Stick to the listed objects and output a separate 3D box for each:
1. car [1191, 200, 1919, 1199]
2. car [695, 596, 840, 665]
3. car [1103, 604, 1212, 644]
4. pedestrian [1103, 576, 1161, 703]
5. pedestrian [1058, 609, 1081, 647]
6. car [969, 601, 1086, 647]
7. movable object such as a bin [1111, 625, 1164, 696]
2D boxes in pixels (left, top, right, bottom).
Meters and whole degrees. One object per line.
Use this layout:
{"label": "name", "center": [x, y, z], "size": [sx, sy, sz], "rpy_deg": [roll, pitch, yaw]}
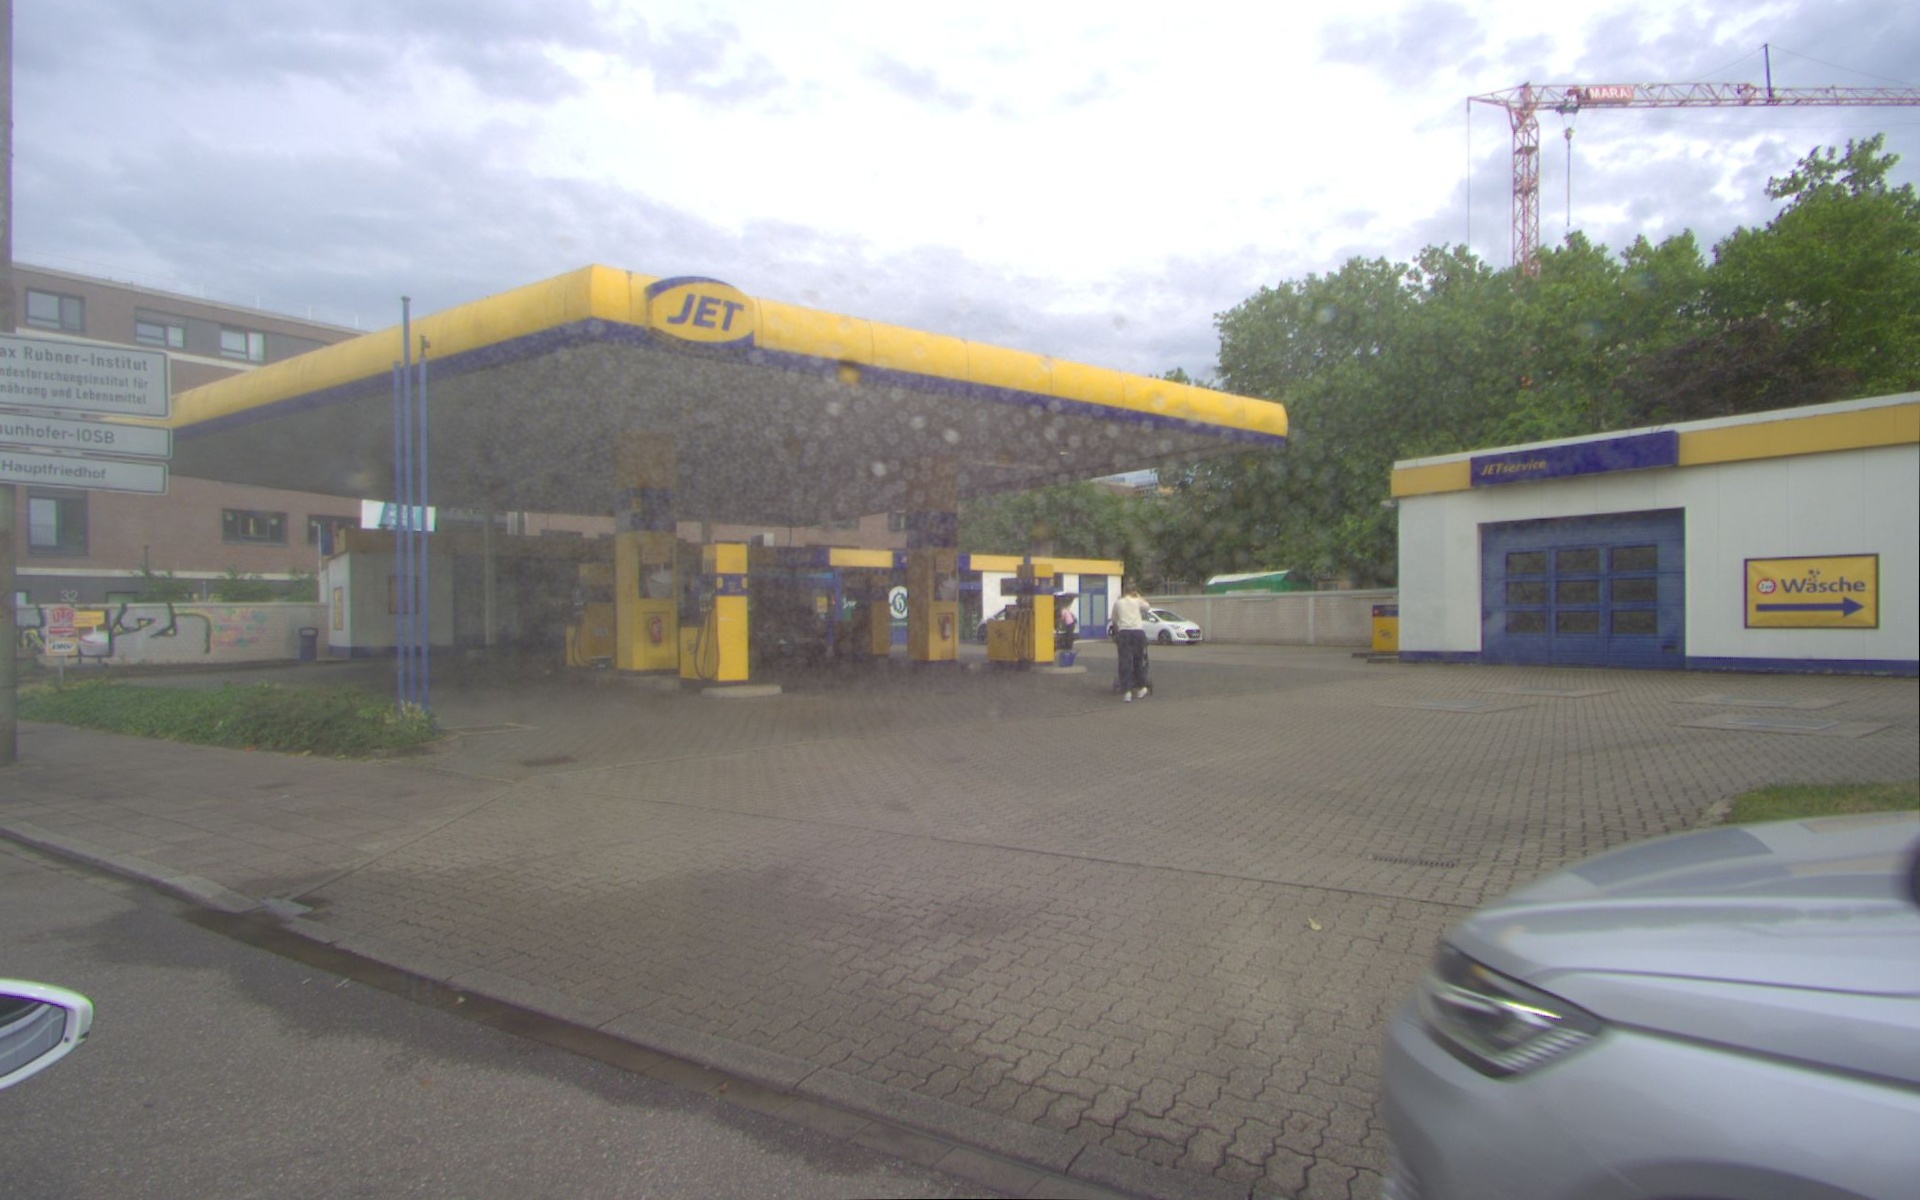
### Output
{"label": "car", "center": [2.710, 0.451, 0.642], "size": [1.831, 1.831, 4.894], "rpy_deg": [0, 0, -40]}
{"label": "car", "center": [-4.861, 0.751, 24.826], "size": [1.970, 1.516, 4.299], "rpy_deg": [-1, -1, -34]}
{"label": "car", "center": [8.194, 1.052, 41.852], "size": [1.915, 1.546, 4.302], "rpy_deg": [2, -3, -38]}
{"label": "pedestrian", "center": [2.585, 0.559, 14.981], "size": [0.756, 1.821, 1.160], "rpy_deg": [0, 2, 15]}
{"label": "pedestrian", "center": [3.969, 1.036, 36.279], "size": [0.573, 1.364, 0.607], "rpy_deg": [1, -2, -38]}
{"label": "car", "center": [2.503, 0.957, 38.019], "size": [1.821, 1.658, 4.440], "rpy_deg": [2, -3, -42]}
{"label": "movable object such as a bin", "center": [2.844, 0.944, 15.978], "size": [0.756, 1.053, 1.022], "rpy_deg": [0, 1, 15]}
